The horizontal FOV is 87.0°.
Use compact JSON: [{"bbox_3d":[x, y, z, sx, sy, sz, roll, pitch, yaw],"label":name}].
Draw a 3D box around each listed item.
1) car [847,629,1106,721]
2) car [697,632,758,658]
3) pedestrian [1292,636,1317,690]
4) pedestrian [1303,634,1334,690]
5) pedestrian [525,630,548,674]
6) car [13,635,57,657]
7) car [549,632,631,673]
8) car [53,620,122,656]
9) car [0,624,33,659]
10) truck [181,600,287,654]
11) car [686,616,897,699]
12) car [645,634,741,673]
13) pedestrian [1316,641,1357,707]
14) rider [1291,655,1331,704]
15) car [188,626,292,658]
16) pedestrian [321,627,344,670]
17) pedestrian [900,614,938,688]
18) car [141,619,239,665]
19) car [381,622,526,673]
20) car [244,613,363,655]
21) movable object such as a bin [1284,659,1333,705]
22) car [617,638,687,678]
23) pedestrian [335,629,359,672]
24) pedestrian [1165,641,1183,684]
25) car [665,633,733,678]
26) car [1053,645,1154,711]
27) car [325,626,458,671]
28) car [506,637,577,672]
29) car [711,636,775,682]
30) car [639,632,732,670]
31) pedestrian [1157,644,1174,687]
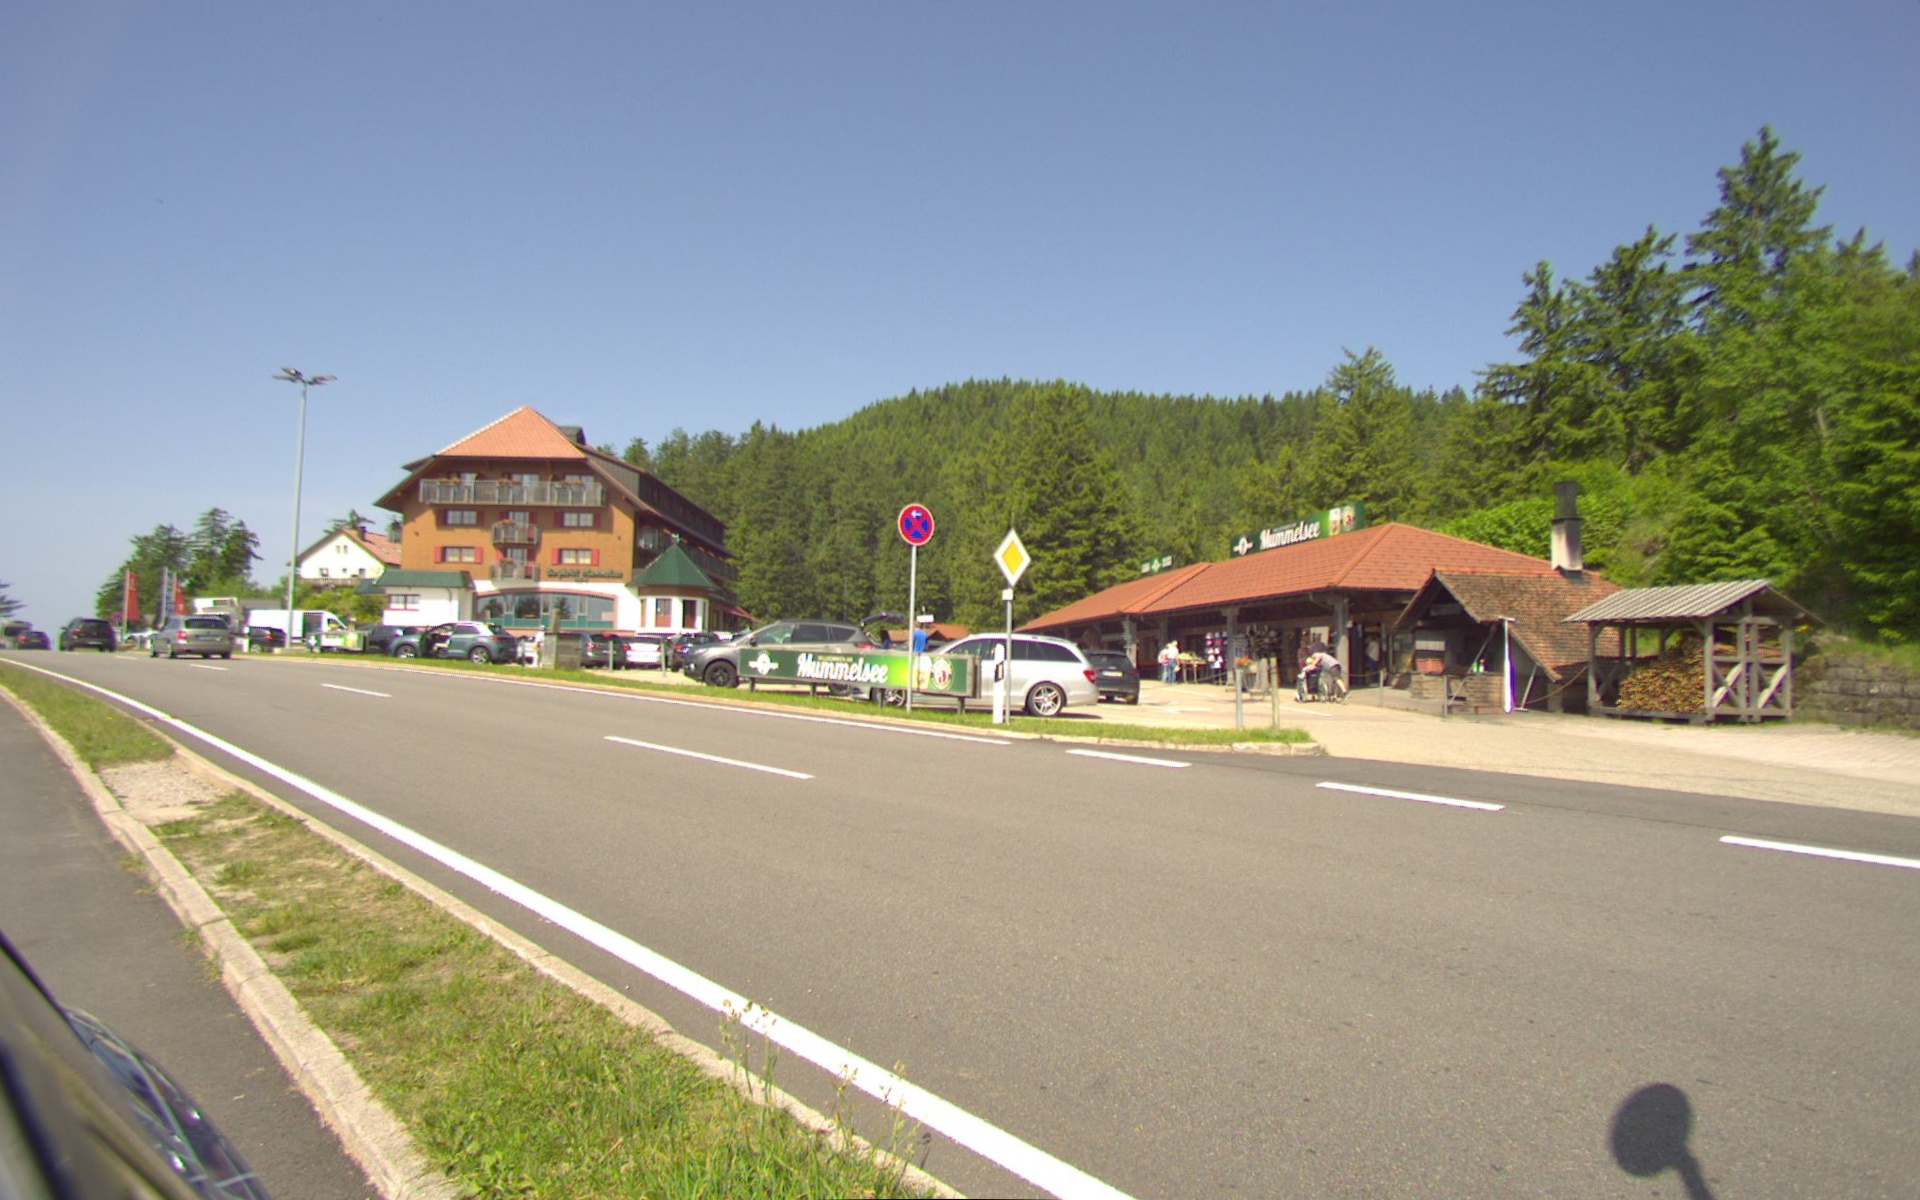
[{"bbox_3d":[0.220,1.336,18.235,4.433,1.441,1.724,2,-3,-6],"label":"car"},{"bbox_3d":[-16.723,3.233,72.966,4.033,1.729,1.922,2,-3,-4],"label":"car"},{"bbox_3d":[11.416,2.067,33.535,0.555,1.750,0.663,-1,-3,39],"label":"pedestrian"},{"bbox_3d":[11.531,1.988,32.567,0.740,1.750,0.802,1,-2,5],"label":"pedestrian"},{"bbox_3d":[-16.230,1.995,38.796,0.733,1.637,0.685,2,-3,-18],"label":"pedestrian"},{"bbox_3d":[-63.590,3.151,69.528,4.447,1.449,1.688,-1,-3,41],"label":"car"},{"bbox_3d":[-14.318,2.006,39.057,1.695,1.441,4.007,4,-3,-39],"label":"car"},{"bbox_3d":[-43.067,1.860,49.938,4.566,1.660,1.972,-1,-3,42],"label":"car"},{"bbox_3d":[-78.525,3.432,83.753,5.916,2.772,1.989,-1,-3,42],"label":"car"},{"bbox_3d":[-54.113,2.060,75.765,2.837,3.850,9.036,0,-2,-11],"label":"truck"},{"bbox_3d":[-3.755,1.305,22.894,4.481,1.668,1.724,2,-3,-6],"label":"car"},{"bbox_3d":[-12.272,2.454,46.727,4.032,1.641,1.826,2,-3,-5],"label":"car"},{"bbox_3d":[10.024,1.959,26.956,0.829,1.712,0.802,1,-2,5],"label":"pedestrian"},{"bbox_3d":[9.629,2.162,27.803,0.829,1.284,0.908,1,-2,5],"label":"rider"},{"bbox_3d":[-38.042,2.241,53.562,4.029,1.539,1.827,2,-3,-9],"label":"car"},{"bbox_3d":[-30.644,2.359,49.414,0.802,2.029,0.708,-1,-3,40],"label":"pedestrian"},{"bbox_3d":[-0.945,1.163,23.175,0.734,1.648,0.848,2,-3,-8],"label":"pedestrian"},{"bbox_3d":[-26.792,1.404,35.149,4.713,1.485,1.859,-1,-2,42],"label":"car"},{"bbox_3d":[-18.033,1.693,36.183,4.206,1.641,1.826,2,-3,-5],"label":"car"},{"bbox_3d":[-46.835,2.463,72.466,6.846,2.812,2.675,3,-3,-30],"label":"car"},{"bbox_3d":[9.627,2.258,28.000,0.971,1.198,1.215,1,-2,5],"label":"movable object such as a bin"},{"bbox_3d":[-12.723,2.385,42.028,1.797,1.524,4.097,2,-3,-3],"label":"car"},{"bbox_3d":[-28.838,2.368,47.612,0.802,2.029,0.708,-1,-3,40],"label":"pedestrian"},{"bbox_3d":[8.219,2.400,38.945,0.499,1.668,0.472,1,-2,-13],"label":"pedestrian"},{"bbox_3d":[-10.310,2.206,40.289,1.797,1.641,4.097,2,-3,-3],"label":"car"},{"bbox_3d":[3.872,2.092,28.010,1.971,1.541,4.002,3,-2,-3],"label":"car"},{"bbox_3d":[-22.766,1.938,40.640,4.206,1.641,1.826,2,-3,-5],"label":"car"},{"bbox_3d":[-19.651,2.548,47.738,1.797,1.524,4.097,2,-3,-3],"label":"car"},{"bbox_3d":[-8.412,2.265,39.540,1.797,1.641,4.097,2,-3,-3],"label":"car"},{"bbox_3d":[-13.239,2.466,48.997,4.032,1.641,1.826,2,-3,-5],"label":"car"},{"bbox_3d":[8.017,2.542,39.467,0.499,1.668,0.472,1,-2,-13],"label":"pedestrian"}]
